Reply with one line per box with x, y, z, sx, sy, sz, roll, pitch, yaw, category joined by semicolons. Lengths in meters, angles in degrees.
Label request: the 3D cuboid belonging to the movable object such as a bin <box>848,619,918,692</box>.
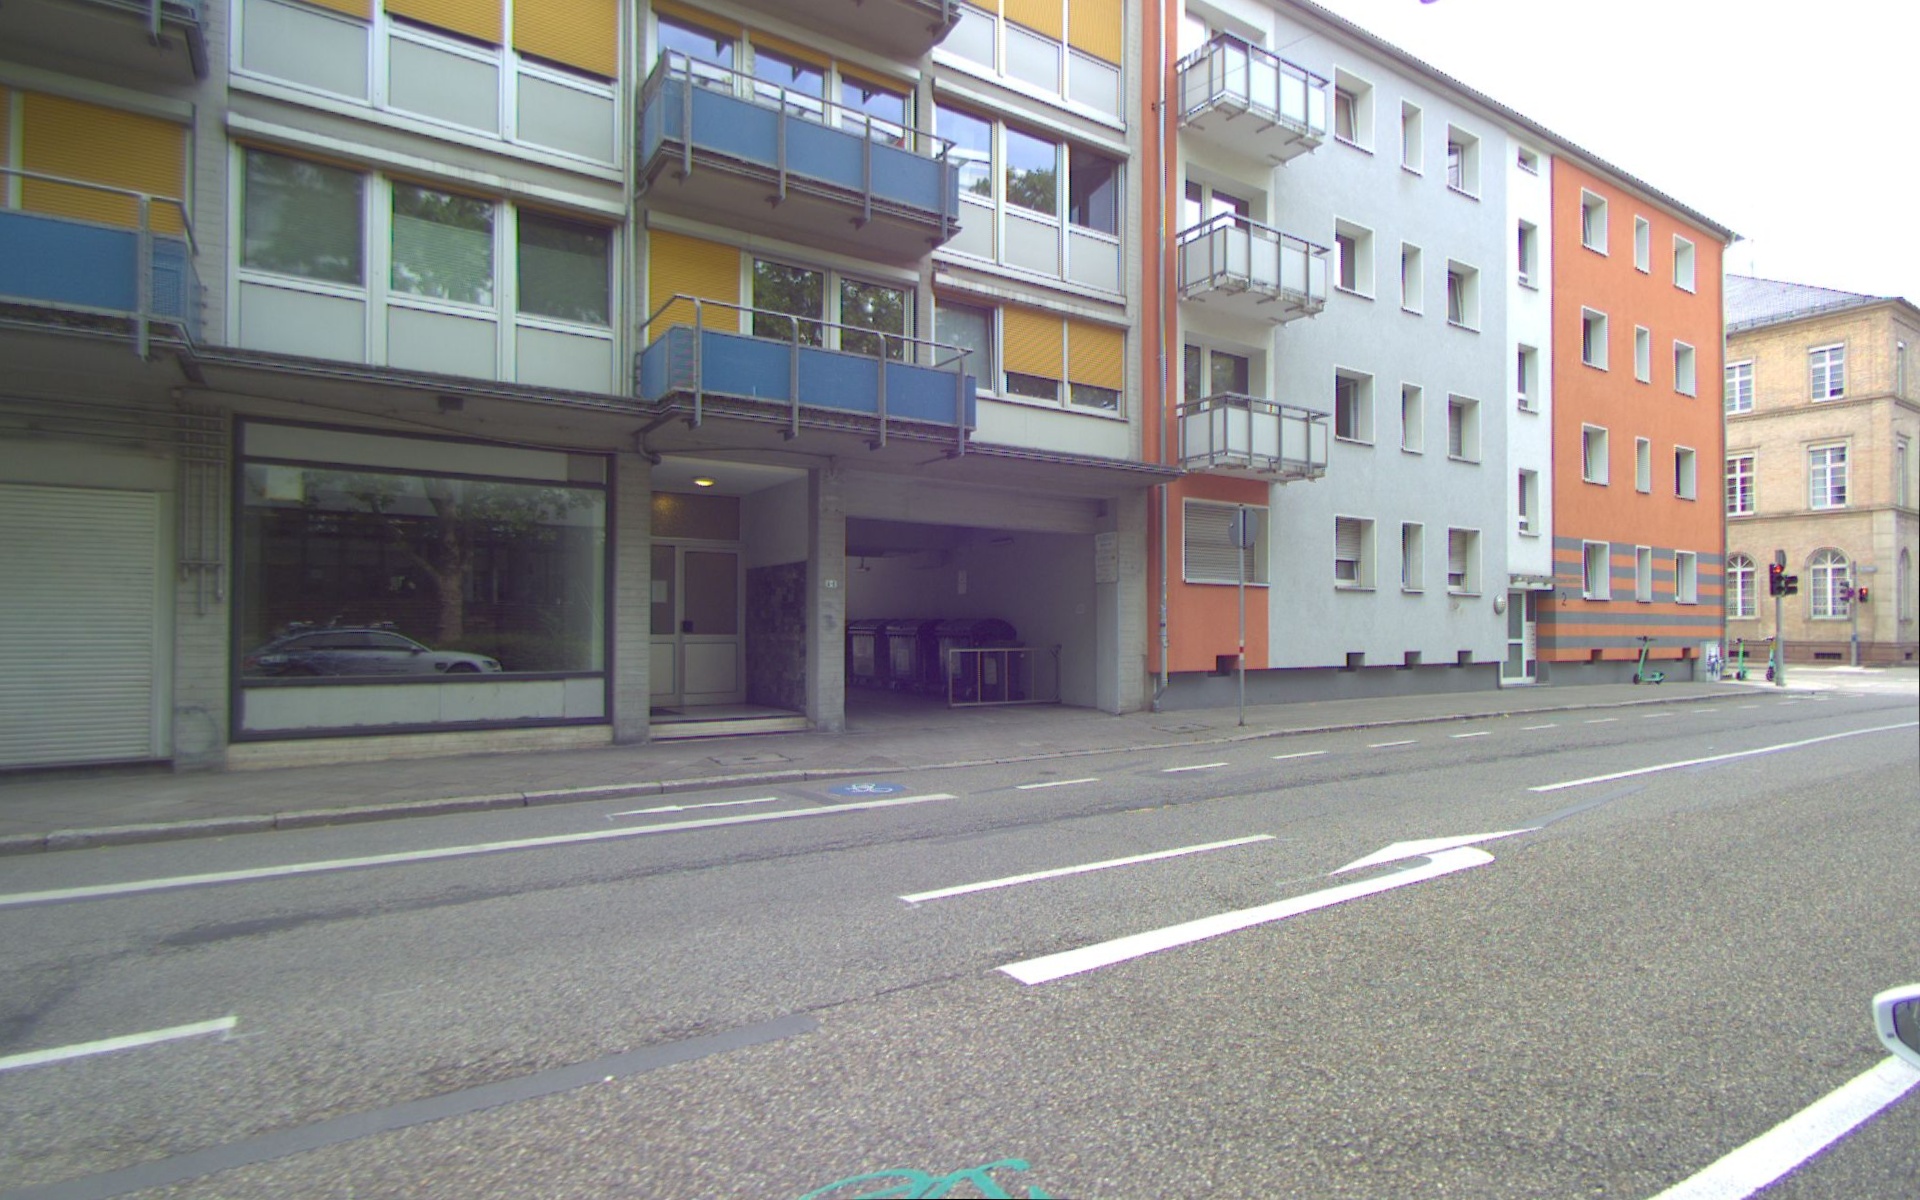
-1.625;1.151;21.152;1.041;1.483;1.183;1;-1;-32;movable object such as a bin

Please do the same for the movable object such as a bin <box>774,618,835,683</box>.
-3.666;1.171;23.609;1.041;1.483;1.183;1;-1;-32;movable object such as a bin

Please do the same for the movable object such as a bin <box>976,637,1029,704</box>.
0.747;1.233;17.752;0.702;1.140;0.638;1;-1;-32;movable object such as a bin

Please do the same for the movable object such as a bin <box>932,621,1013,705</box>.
0.222;1.126;18.536;1.041;1.483;1.183;1;-1;-32;movable object such as a bin

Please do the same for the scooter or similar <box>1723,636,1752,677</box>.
22.206;1.615;28.683;1.131;1.162;0.375;3;-3;-37;scooter or similar

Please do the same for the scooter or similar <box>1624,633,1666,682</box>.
17.162;1.449;25.154;1.375;1.199;0.376;3;-2;-33;scooter or similar

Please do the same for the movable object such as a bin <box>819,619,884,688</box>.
-2.422;1.165;22.430;1.041;1.483;1.183;1;-1;-32;movable object such as a bin

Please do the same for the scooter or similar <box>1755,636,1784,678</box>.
22.965;1.623;28.480;1.131;1.159;0.375;3;-3;-37;scooter or similar

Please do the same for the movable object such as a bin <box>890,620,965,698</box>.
-0.652;1.138;19.769;1.041;1.483;1.183;1;-1;-32;movable object such as a bin
